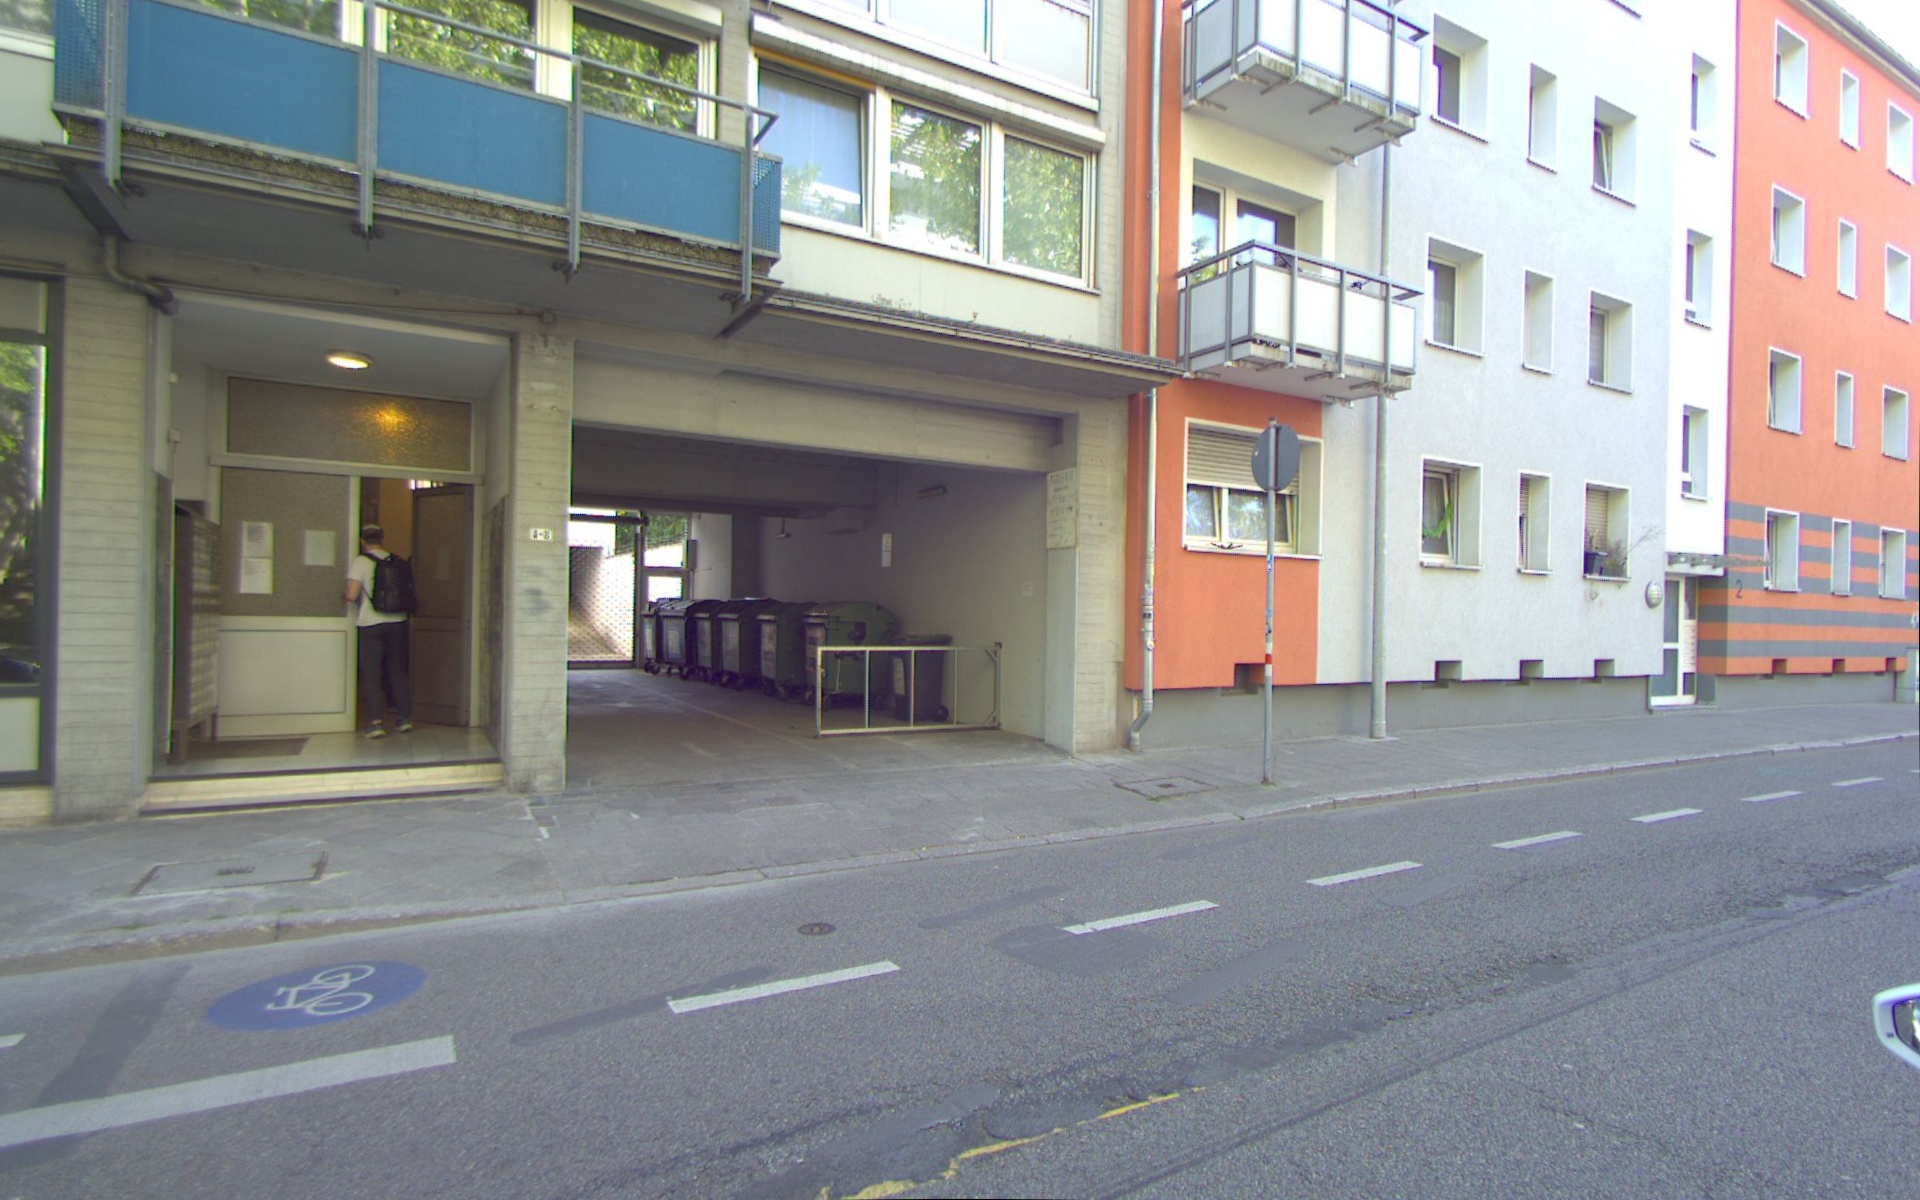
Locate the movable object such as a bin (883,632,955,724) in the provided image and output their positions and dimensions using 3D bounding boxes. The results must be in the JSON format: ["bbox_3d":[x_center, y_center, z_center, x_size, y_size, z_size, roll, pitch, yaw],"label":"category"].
[{"bbox_3d":[-0.509,0.948,12.454,0.687,1.094,0.579,1,0,-30],"label":"movable object such as a bin"}]

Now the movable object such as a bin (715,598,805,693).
[{"bbox_3d":[-3.314,0.731,16.633,1.167,1.503,1.073,1,0,-30],"label":"movable object such as a bin"}]

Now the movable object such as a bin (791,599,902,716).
[{"bbox_3d":[-1.569,0.746,13.742,1.086,1.503,1.251,1,0,-30],"label":"movable object such as a bin"}]

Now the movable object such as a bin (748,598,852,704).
[{"bbox_3d":[-2.426,0.738,15.142,1.167,1.503,1.252,1,0,-30],"label":"movable object such as a bin"}]

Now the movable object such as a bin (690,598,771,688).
[{"bbox_3d":[-4.039,0.729,17.637,1.080,1.503,1.159,1,0,-30],"label":"movable object such as a bin"}]

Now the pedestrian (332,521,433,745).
[{"bbox_3d":[-4.981,0.268,8.708,0.592,1.824,0.875,1,1,-21],"label":"pedestrian"}]

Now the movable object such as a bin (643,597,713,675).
[{"bbox_3d":[-5.607,0.707,19.956,1.167,1.503,0.819,1,0,-30],"label":"movable object such as a bin"}]

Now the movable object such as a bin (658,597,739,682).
[{"bbox_3d":[-4.879,0.718,18.696,1.167,1.503,1.215,1,0,-30],"label":"movable object such as a bin"}]

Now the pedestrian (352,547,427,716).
[{"bbox_3d":[-6.081,0.329,10.719,0.654,1.736,0.544,1,0,-31],"label":"pedestrian"}]
